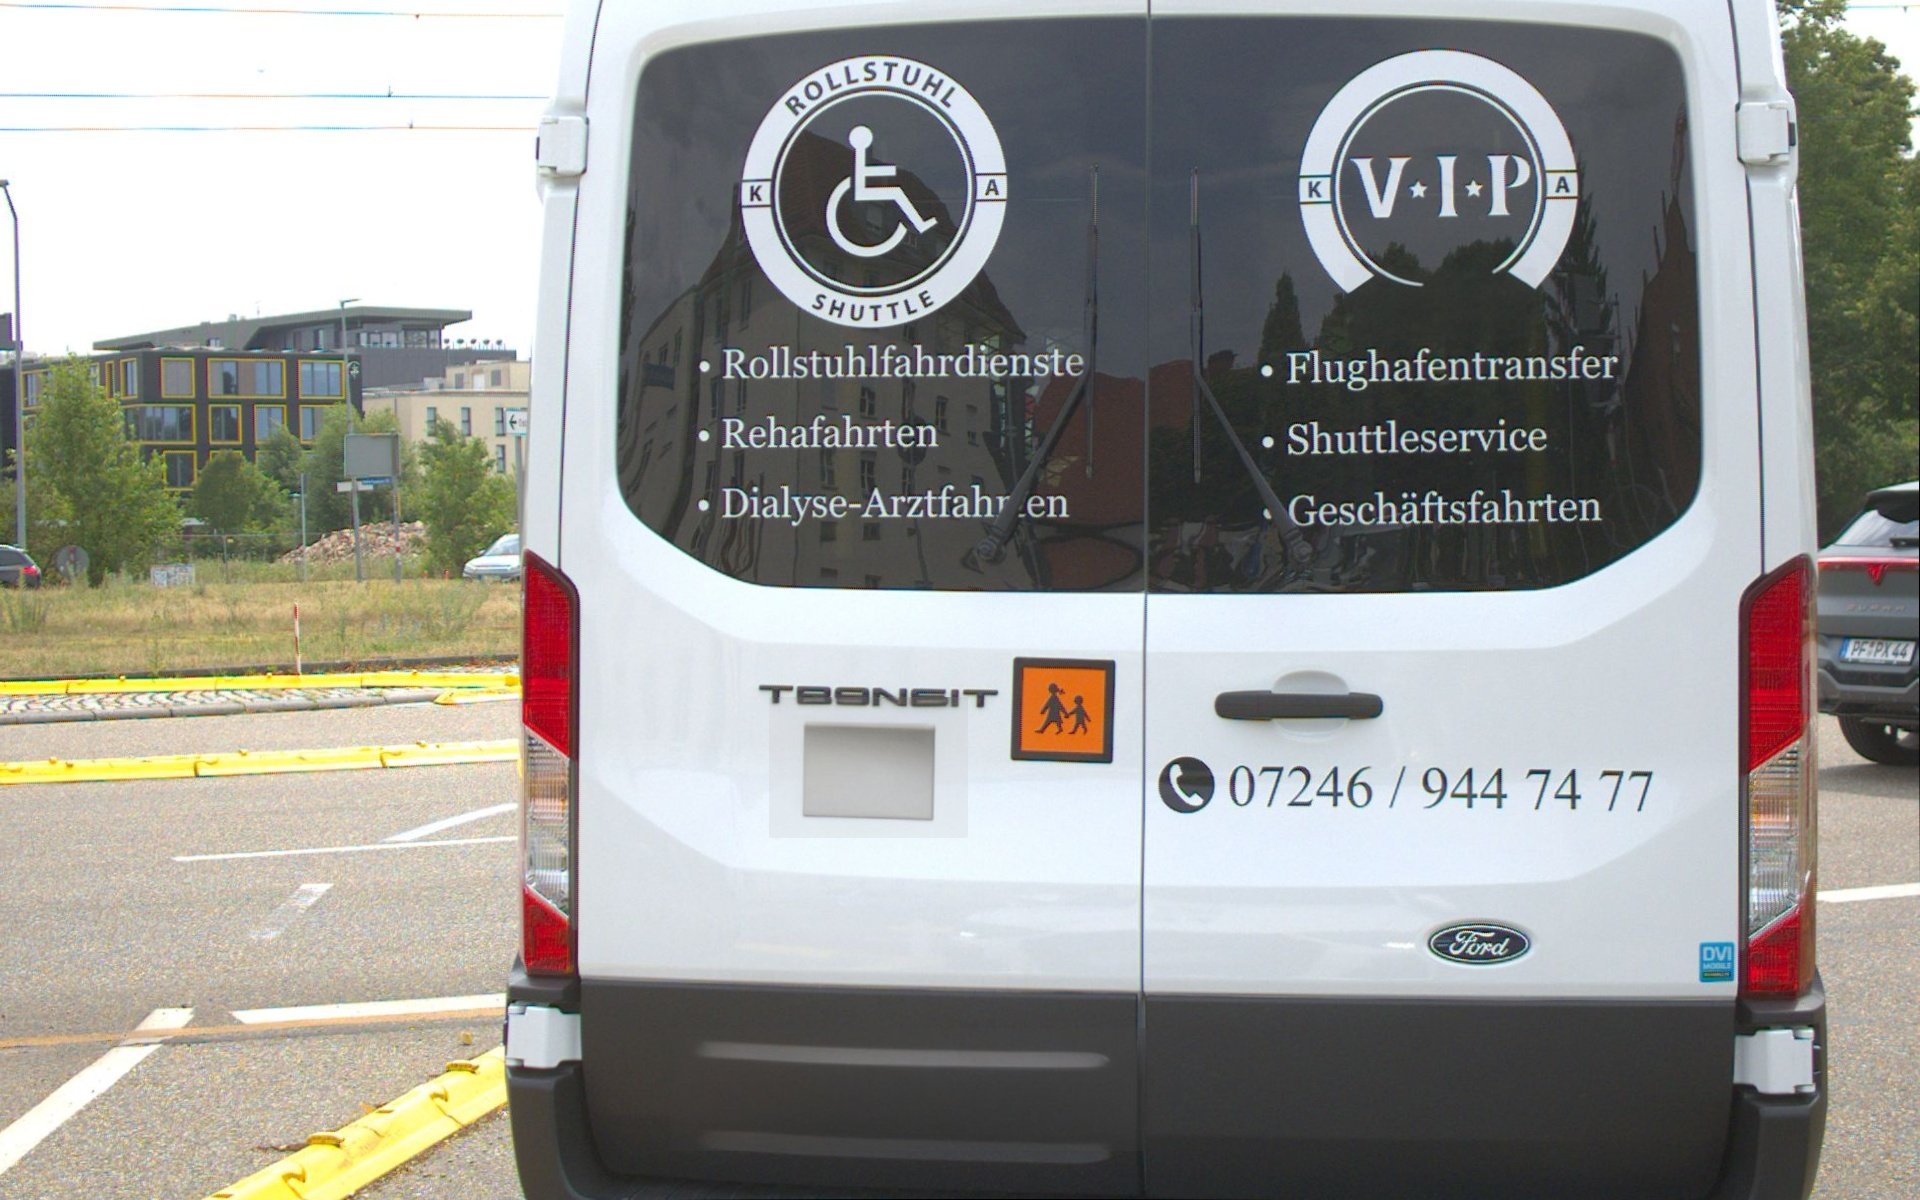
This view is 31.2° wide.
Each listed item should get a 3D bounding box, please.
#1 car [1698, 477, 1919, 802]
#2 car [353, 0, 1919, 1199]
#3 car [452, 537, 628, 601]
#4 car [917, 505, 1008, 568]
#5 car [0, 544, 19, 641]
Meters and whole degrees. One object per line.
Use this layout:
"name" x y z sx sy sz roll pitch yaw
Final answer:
"car" 6.292 0.116 17.900 4.459 1.546 2.065 -2 2 -26
"car" 0.435 -0.007 7.507 2.126 2.688 5.631 -1 1 4
"car" -9.947 -0.746 81.696 1.831 1.458 3.991 0 1 39
"car" 0.106 -1.930 104.955 1.994 1.842 3.998 0 0 12
"car" -21.724 -0.147 71.719 3.986 2.007 2.001 0 0 -17
